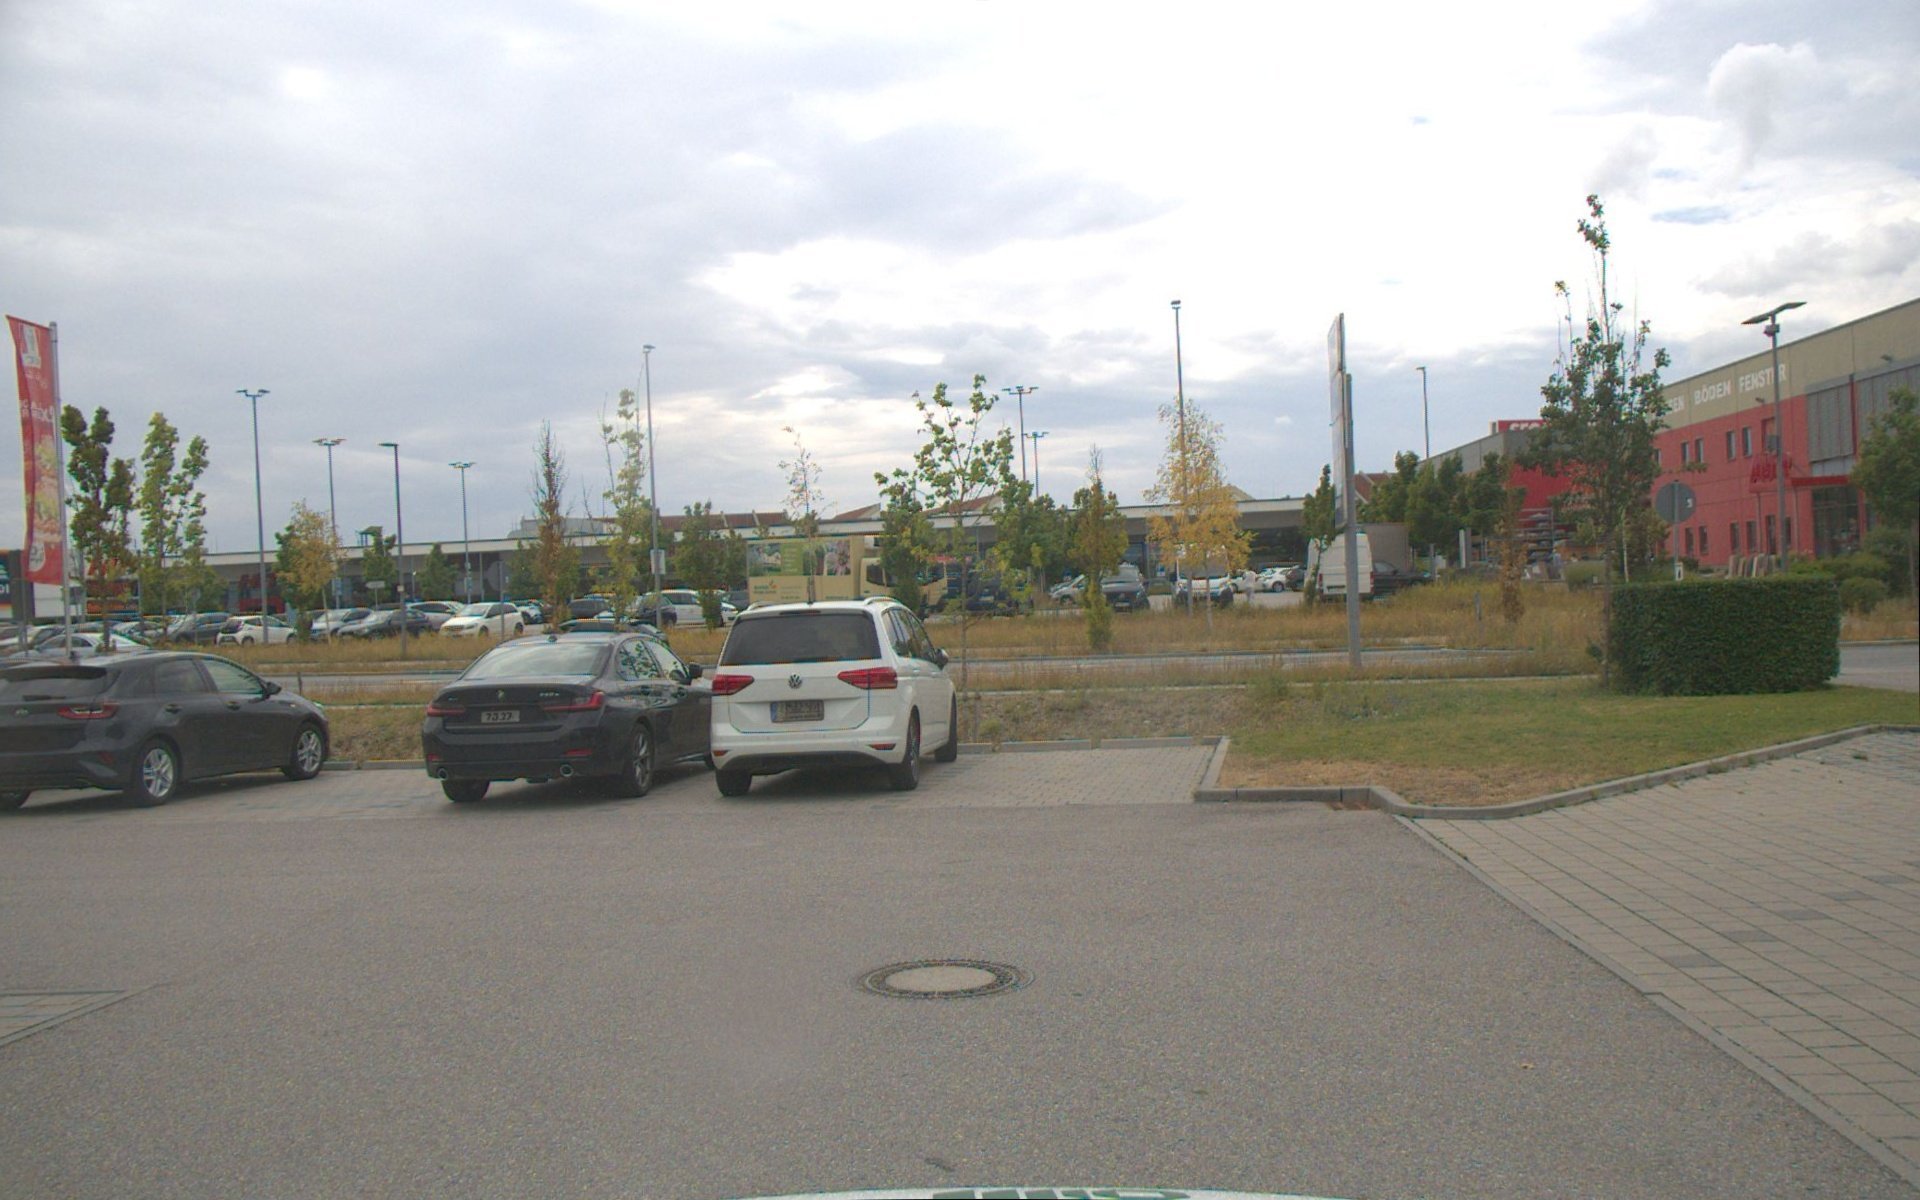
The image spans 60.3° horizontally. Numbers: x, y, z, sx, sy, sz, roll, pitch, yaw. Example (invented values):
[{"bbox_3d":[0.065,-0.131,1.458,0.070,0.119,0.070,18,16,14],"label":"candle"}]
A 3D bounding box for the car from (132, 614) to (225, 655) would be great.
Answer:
[{"bbox_3d":[-35.644,1.541,75.513,1.729,1.566,3.767,-2,2,15],"label":"car"}]

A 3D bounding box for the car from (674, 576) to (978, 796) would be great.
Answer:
[{"bbox_3d":[-1.089,0.757,15.712,1.943,1.743,4.375,-2,-1,8],"label":"car"}]

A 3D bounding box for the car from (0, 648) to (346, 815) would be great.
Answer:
[{"bbox_3d":[-8.186,1.254,16.918,1.842,1.437,4.073,-2,-1,8],"label":"car"}]

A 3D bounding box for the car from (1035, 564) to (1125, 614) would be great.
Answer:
[{"bbox_3d":[5.491,-0.542,76.079,3.907,2.048,2.000,-3,2,-2],"label":"car"}]

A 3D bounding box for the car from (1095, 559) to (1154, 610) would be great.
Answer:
[{"bbox_3d":[6.020,-0.591,60.542,2.027,1.667,5.074,-2,2,6],"label":"car"}]

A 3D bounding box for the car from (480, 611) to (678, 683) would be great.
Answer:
[{"bbox_3d":[-10.099,1.242,44.012,4.735,1.578,1.804,-3,2,9],"label":"car"}]

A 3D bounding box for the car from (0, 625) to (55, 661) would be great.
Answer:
[{"bbox_3d":[-46.725,2.137,80.951,1.861,1.566,4.059,-2,2,15],"label":"car"}]

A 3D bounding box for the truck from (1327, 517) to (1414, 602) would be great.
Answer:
[{"bbox_3d":[19.813,-2.013,80.279,2.592,3.808,8.262,-3,2,5],"label":"truck"}]

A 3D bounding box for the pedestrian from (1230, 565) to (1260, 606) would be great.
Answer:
[{"bbox_3d":[10.595,-0.547,61.511,0.954,1.453,0.788,-3,1,5],"label":"pedestrian"}]

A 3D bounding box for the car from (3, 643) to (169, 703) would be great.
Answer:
[{"bbox_3d":[-26.630,2.225,50.403,4.740,1.578,1.802,-2,2,23],"label":"car"}]

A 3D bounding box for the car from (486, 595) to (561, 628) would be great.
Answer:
[{"bbox_3d":[-27.857,0.708,105.662,4.084,1.869,2.002,-2,2,8],"label":"car"}]

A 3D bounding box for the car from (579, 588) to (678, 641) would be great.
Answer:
[{"bbox_3d":[-13.057,0.555,65.471,1.885,1.802,4.324,-2,2,18],"label":"car"}]

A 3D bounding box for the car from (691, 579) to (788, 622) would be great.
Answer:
[{"bbox_3d":[-10.698,0.010,80.338,4.216,1.802,2.002,-3,2,6],"label":"car"}]

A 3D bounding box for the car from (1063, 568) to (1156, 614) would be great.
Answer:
[{"bbox_3d":[6.488,-0.400,71.695,3.903,1.768,1.892,-3,2,5],"label":"car"}]

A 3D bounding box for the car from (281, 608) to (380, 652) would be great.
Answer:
[{"bbox_3d":[-27.035,1.279,71.171,1.729,1.566,4.058,-2,2,18],"label":"car"}]

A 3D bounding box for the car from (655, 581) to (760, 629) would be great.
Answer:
[{"bbox_3d":[-10.858,0.219,71.145,3.902,1.802,2.002,-2,2,16],"label":"car"}]

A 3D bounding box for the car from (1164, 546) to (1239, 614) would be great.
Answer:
[{"bbox_3d":[8.749,-0.801,60.358,2.357,2.252,6.064,-2,2,6],"label":"car"}]

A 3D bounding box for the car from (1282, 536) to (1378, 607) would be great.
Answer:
[{"bbox_3d":[13.285,-1.070,59.844,2.289,2.307,6.510,-3,2,4],"label":"car"}]

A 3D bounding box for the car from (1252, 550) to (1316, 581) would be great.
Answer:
[{"bbox_3d":[20.764,-2.193,106.195,3.902,1.766,1.936,-3,2,8],"label":"car"}]

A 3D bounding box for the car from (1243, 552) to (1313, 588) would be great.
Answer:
[{"bbox_3d":[18.763,-1.783,97.830,3.902,1.869,2.002,-3,2,8],"label":"car"}]

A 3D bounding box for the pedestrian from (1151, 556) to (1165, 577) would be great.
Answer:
[{"bbox_3d":[14.333,-2.431,119.776,0.644,1.453,0.790,-4,2,-31],"label":"pedestrian"}]

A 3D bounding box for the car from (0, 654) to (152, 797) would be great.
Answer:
[{"bbox_3d":[-11.065,1.378,17.778,1.865,1.482,4.746,-2,-1,9],"label":"car"}]

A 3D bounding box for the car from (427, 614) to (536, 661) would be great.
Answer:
[{"bbox_3d":[-21.480,1.685,74.240,4.215,1.802,1.923,-3,2,15],"label":"car"}]

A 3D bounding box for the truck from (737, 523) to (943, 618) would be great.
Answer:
[{"bbox_3d":[-4.707,-1.077,63.418,8.287,3.251,3.010,-1,2,44],"label":"truck"}]

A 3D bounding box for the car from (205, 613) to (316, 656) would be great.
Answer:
[{"bbox_3d":[-30.904,1.492,73.170,1.955,1.566,4.156,-2,2,28],"label":"car"}]

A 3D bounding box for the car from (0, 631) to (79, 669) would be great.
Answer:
[{"bbox_3d":[-44.806,2.417,79.575,1.820,1.527,4.076,-2,2,19],"label":"car"}]

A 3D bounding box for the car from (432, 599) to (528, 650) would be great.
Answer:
[{"bbox_3d":[-19.703,0.969,68.111,1.951,1.802,4.326,-3,2,11],"label":"car"}]

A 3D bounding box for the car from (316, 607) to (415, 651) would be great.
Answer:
[{"bbox_3d":[-25.074,1.214,69.926,1.729,1.566,4.058,-2,2,18],"label":"car"}]

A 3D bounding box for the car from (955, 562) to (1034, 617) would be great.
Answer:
[{"bbox_3d":[1.345,-0.412,62.010,2.027,1.917,5.075,-2,0,11],"label":"car"}]

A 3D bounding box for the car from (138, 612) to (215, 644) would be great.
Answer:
[{"bbox_3d":[-52.008,1.846,109.813,4.084,1.869,2.002,-2,2,9],"label":"car"}]

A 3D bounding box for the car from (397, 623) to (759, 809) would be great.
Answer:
[{"bbox_3d":[-3.457,1.017,15.967,1.900,1.492,4.519,-2,-1,8],"label":"car"}]
